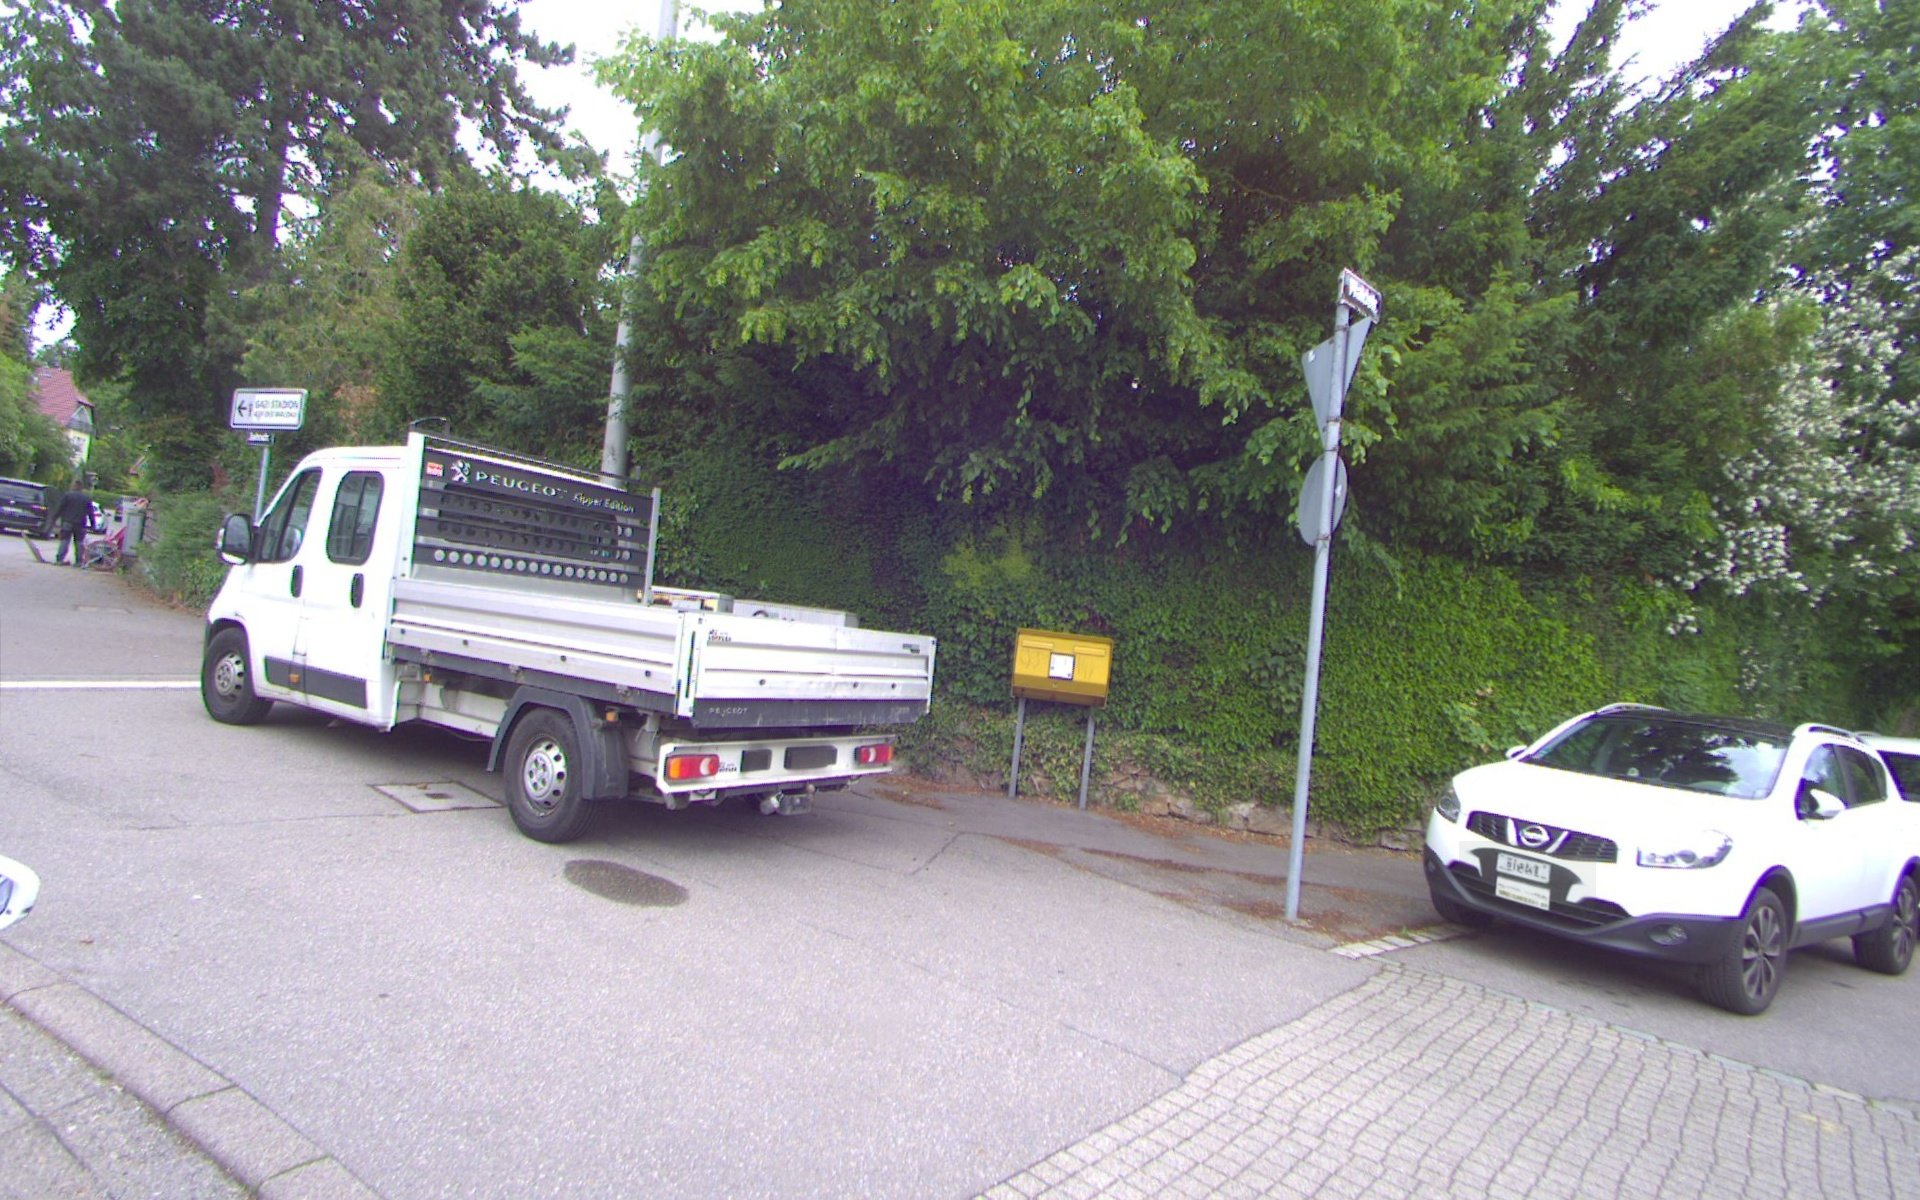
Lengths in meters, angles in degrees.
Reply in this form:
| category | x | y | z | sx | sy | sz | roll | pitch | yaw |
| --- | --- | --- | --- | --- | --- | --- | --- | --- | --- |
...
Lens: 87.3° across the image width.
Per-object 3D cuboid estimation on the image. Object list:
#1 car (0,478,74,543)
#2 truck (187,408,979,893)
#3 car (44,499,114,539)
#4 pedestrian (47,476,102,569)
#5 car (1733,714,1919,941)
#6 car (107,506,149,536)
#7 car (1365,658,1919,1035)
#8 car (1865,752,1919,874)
| category | x | y | z | sx | sy | sz | roll | pitch | yaw |
| --- | --- | --- | --- | --- | --- | --- | --- | --- | --- |
| car | -32.963 | -3.172 | 35.508 | 1.910 | 1.915 | 4.859 | 10 | -2 | -36 |
| truck | -2.936 | 0.083 | 7.165 | 5.631 | 2.270 | 2.211 | 7 | -2 | 34 |
| car | -41.652 | -3.806 | 47.640 | 1.832 | 1.476 | 4.040 | 10 | -2 | -34 |
| pedestrian | -19.524 | -1.702 | 22.187 | 0.549 | 1.929 | 0.597 | 7 | -1 | 32 |
| car | 9.042 | 2.121 | 9.473 | 4.041 | 1.641 | 1.780 | 9 | -3 | -38 |
| car | -62.068 | -5.901 | 75.110 | 1.930 | 1.846 | 4.038 | 10 | -2 | -35 |
| car | 4.764 | 1.473 | 6.660 | 4.098 | 1.641 | 1.783 | 9 | -2 | -34 |
| car | 13.802 | 2.941 | 13.477 | 4.040 | 1.440 | 1.781 | 8 | -2 | -38 |
